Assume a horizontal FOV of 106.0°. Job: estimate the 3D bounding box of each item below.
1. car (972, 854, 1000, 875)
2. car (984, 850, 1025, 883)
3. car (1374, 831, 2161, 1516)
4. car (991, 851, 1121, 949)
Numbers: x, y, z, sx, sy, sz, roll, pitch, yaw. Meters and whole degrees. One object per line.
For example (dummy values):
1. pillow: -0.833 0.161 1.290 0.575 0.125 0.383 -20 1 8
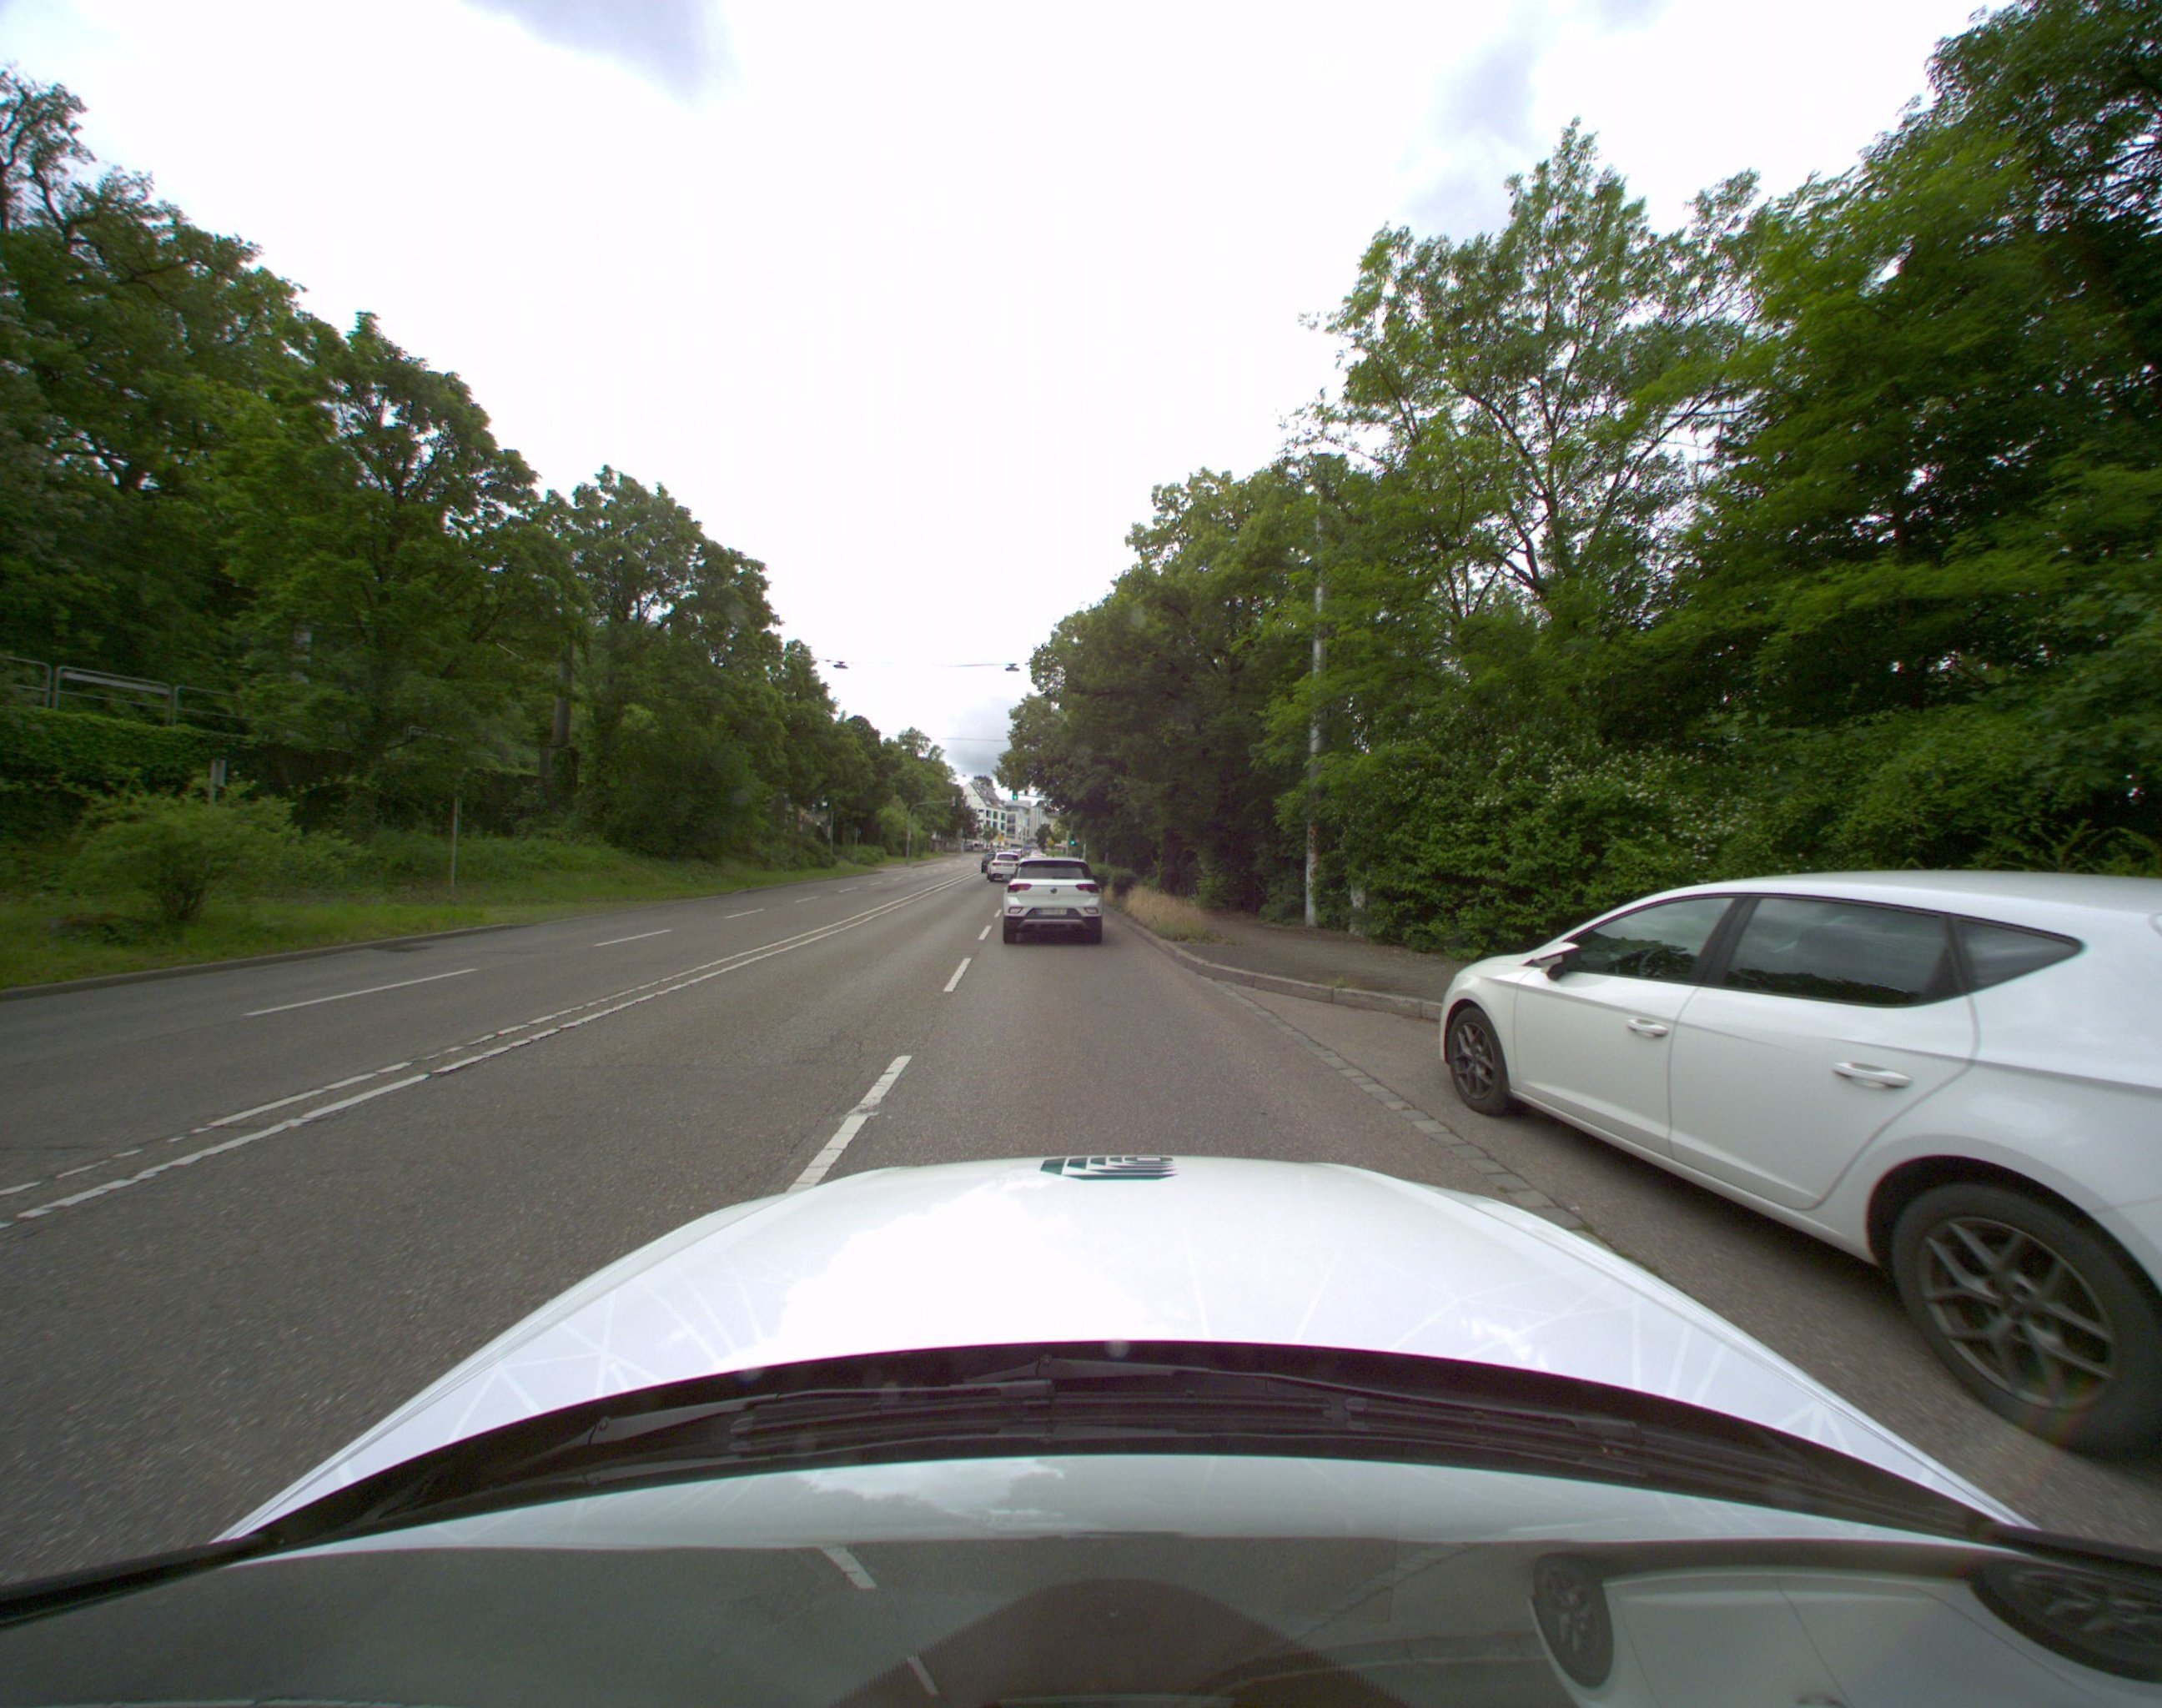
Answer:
1. car: -7.150 0.784 61.343 1.947 1.466 3.991 1 1 -7
2. car: -4.347 0.723 45.670 1.853 1.703 3.983 -1 -1 -12
3. car: 3.153 0.678 3.817 1.728 1.482 4.698 1 1 -2
4. car: -0.630 0.796 15.806 2.000 1.596 3.987 -2 0 -9
